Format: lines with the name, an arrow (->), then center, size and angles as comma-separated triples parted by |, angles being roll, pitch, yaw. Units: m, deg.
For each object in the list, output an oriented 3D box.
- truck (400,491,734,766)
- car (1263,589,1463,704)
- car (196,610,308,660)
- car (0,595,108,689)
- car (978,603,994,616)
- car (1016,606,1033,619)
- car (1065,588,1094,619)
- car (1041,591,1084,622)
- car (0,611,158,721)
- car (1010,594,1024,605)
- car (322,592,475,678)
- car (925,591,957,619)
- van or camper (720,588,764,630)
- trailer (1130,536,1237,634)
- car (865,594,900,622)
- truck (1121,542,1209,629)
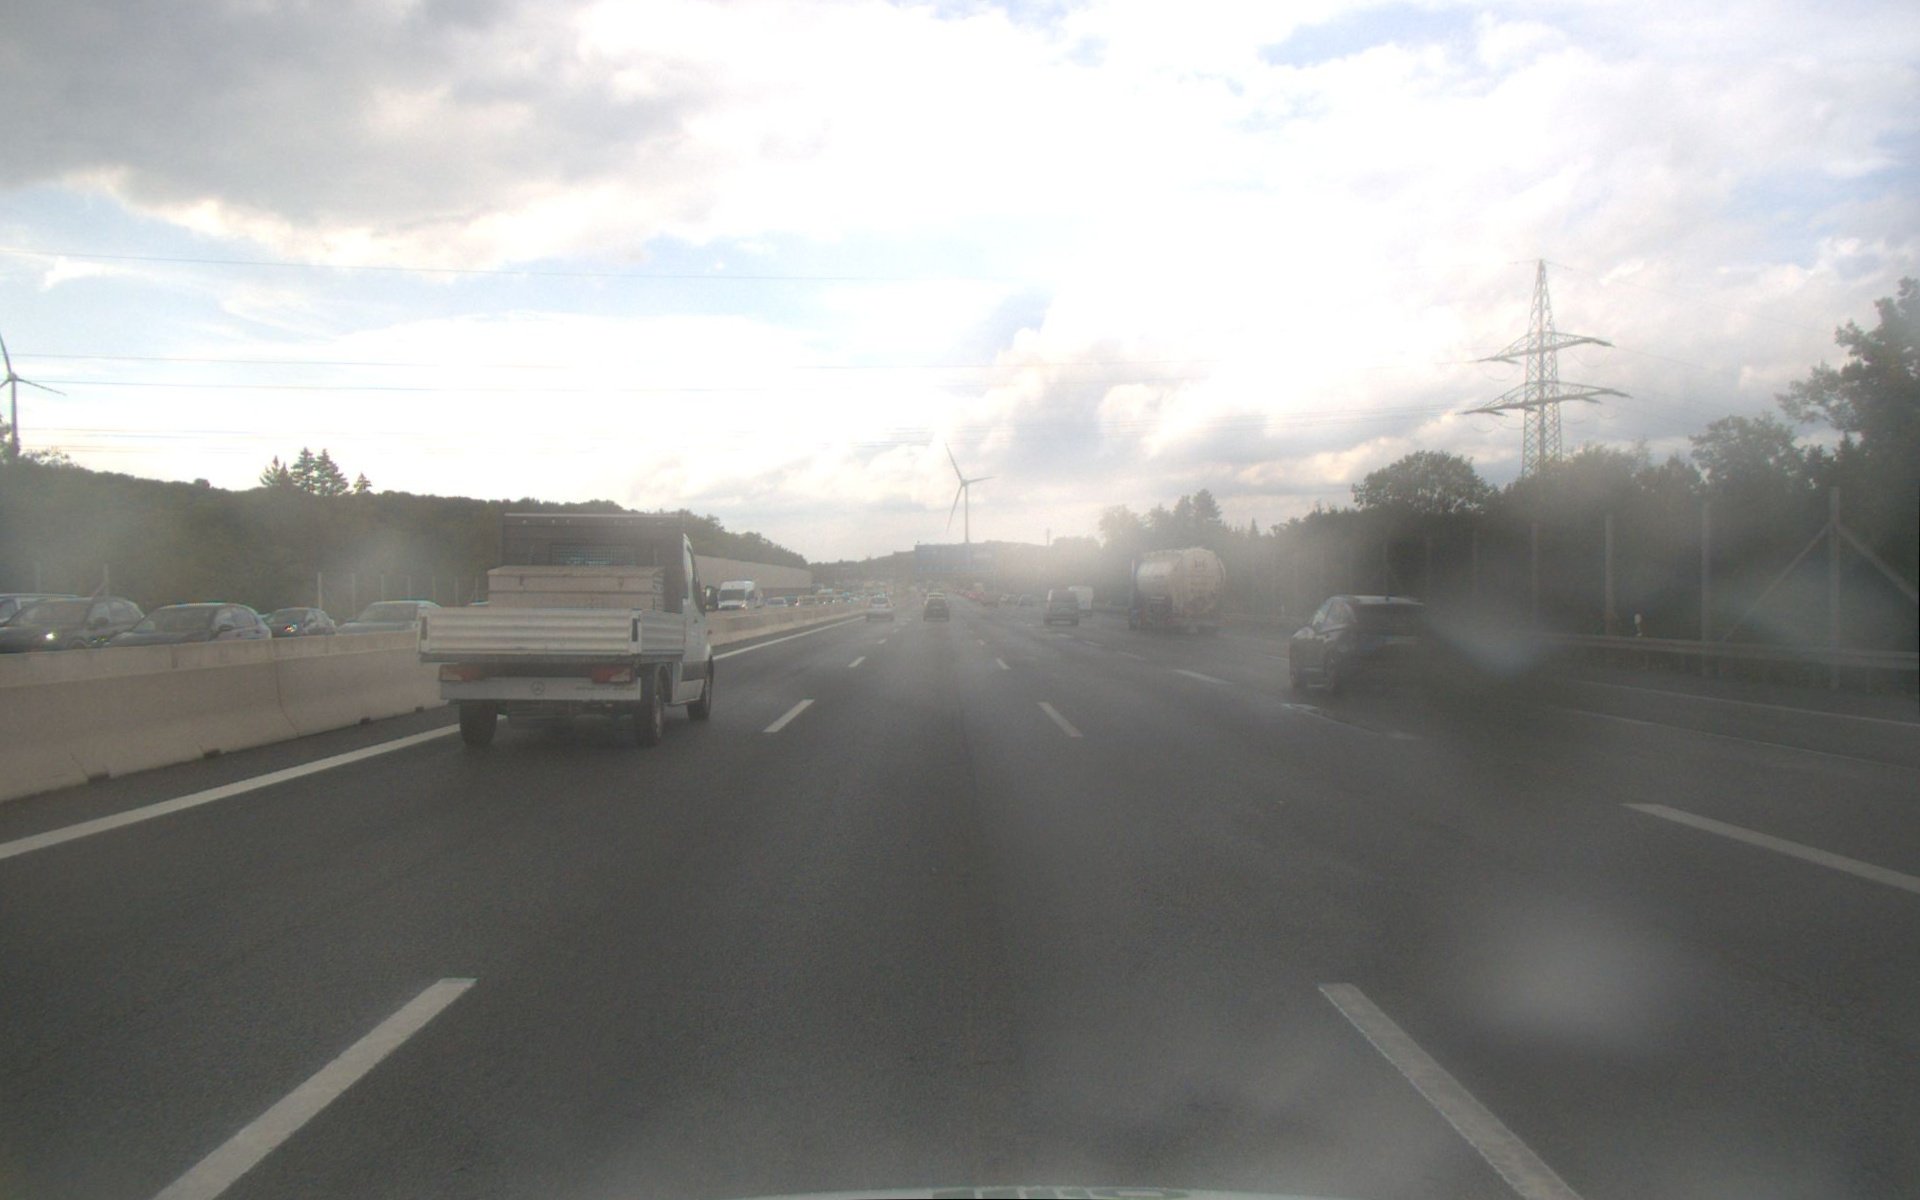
truck -> -4.040, 0.232, 18.587 | 2.306, 2.450, 7.354 | 1, 0, -3
car -> 6.676, 0.702, 28.021 | 2.004, 1.729, 5.005 | 1, 0, -2
car -> -22.143, 1.063, 51.883 | 1.829, 1.477, 3.999 | 1, 0, -1
car -> -21.547, 0.893, 37.133 | 2.073, 1.971, 5.438 | 1, 0, -1
car -> 3.442, 1.227, 220.622 | 2.003, 1.729, 4.000 | 0, 0, 0
car -> 8.703, 1.675, 223.773 | 1.953, 1.780, 4.496 | 1, 0, -1
car -> 9.904, 0.264, 137.102 | 2.004, 2.541, 3.999 | 0, 0, -1
car -> 6.015, 0.357, 97.423 | 2.056, 1.729, 3.997 | 0, 0, -4
car -> -17.876, 1.247, 32.965 | 1.855, 1.987, 3.999 | 1, 0, -1
car -> 8.998, -0.092, 262.018 | 2.003, 1.729, 4.000 | 0, 0, 0
car -> -13.833, 0.800, 41.103 | 2.073, 1.971, 5.214 | 1, 0, -1
car -> -1.245, 0.314, 107.945 | 2.003, 1.729, 4.000 | 0, 0, 0
van or camper -> -14.825, 0.589, 112.852 | 2.134, 2.752, 7.519 | 1, 0, -1
trailer -> 10.404, -0.687, 78.259 | 3.265, 4.249, 11.836 | 1, 0, -1
car -> -4.818, 0.490, 103.286 | 2.004, 1.729, 3.999 | 0, 0, -1
truck -> 10.331, -0.705, 84.202 | 3.265, 4.151, 8.270 | 1, 0, -1
